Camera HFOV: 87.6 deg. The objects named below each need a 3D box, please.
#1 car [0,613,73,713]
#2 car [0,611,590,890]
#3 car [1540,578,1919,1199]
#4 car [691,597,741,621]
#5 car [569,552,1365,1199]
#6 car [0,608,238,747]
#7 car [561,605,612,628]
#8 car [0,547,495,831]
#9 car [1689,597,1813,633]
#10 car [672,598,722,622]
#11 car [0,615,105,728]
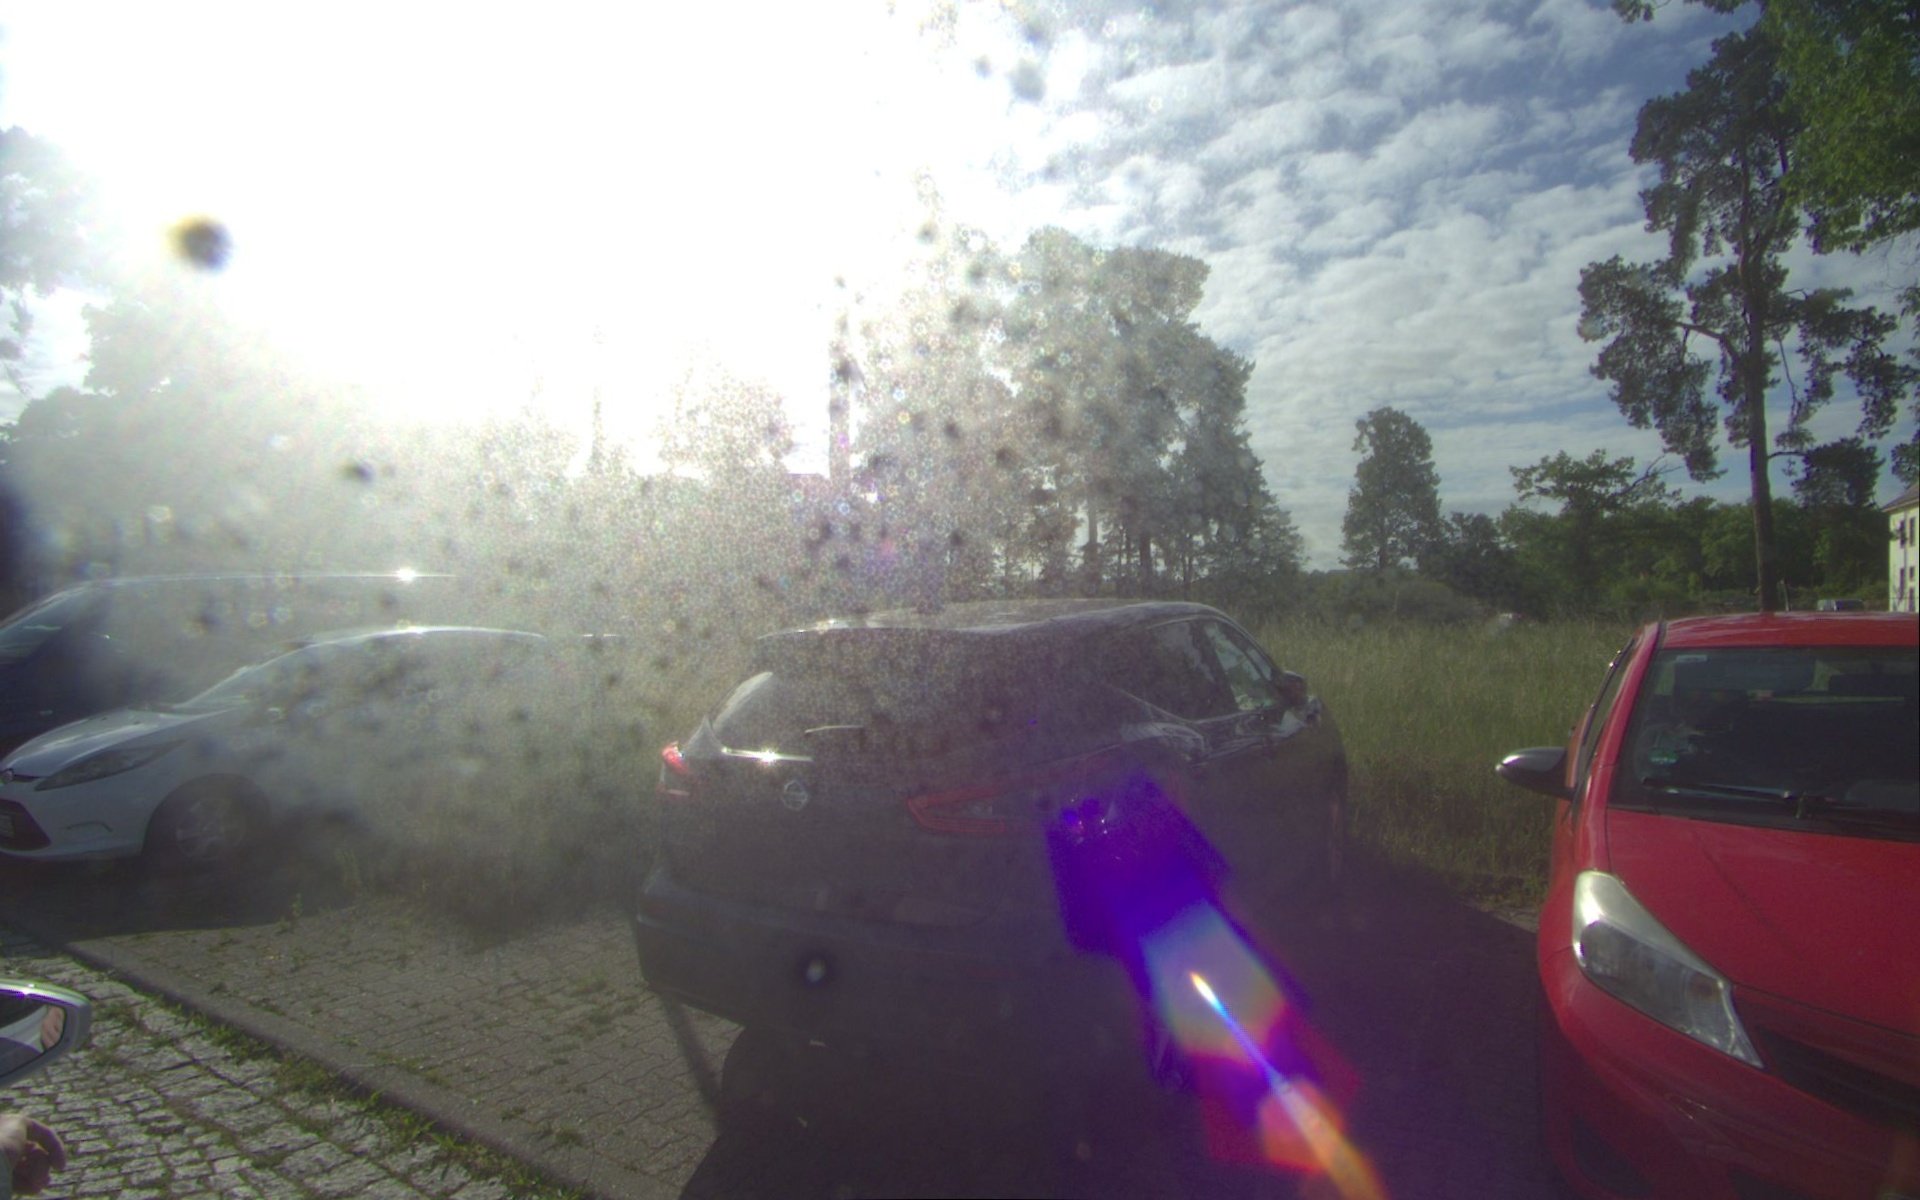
[{"bbox_3d":[-15.994,0.973,15.205,1.621,1.549,3.472,0,0,31],"label":"car"},{"bbox_3d":[-4.872,0.860,7.592,1.621,1.508,3.713,0,0,30],"label":"car"},{"bbox_3d":[2.881,0.749,3.208,1.622,1.550,3.754,0,0,32],"label":"car"},{"bbox_3d":[-21.172,0.787,87.039,1.971,2.040,3.979,0,0,32],"label":"car"},{"bbox_3d":[0.519,0.745,4.396,1.746,1.643,3.930,-1,-1,31],"label":"car"},{"bbox_3d":[-11.201,0.905,12.076,1.622,1.485,3.684,0,1,33],"label":"car"},{"bbox_3d":[-33.366,1.480,89.558,1.971,2.040,3.979,0,0,32],"label":"car"},{"bbox_3d":[-6.990,0.657,9.146,2.052,2.040,4.672,0,0,29],"label":"car"},{"bbox_3d":[51.394,1.019,65.257,2.336,2.199,6.000,0,-2,-21],"label":"car"},{"bbox_3d":[-23.047,0.847,87.950,1.971,2.040,3.979,0,0,32],"label":"car"},{"bbox_3d":[-13.872,0.974,13.173,1.621,1.487,3.668,0,0,31],"label":"car"}]
